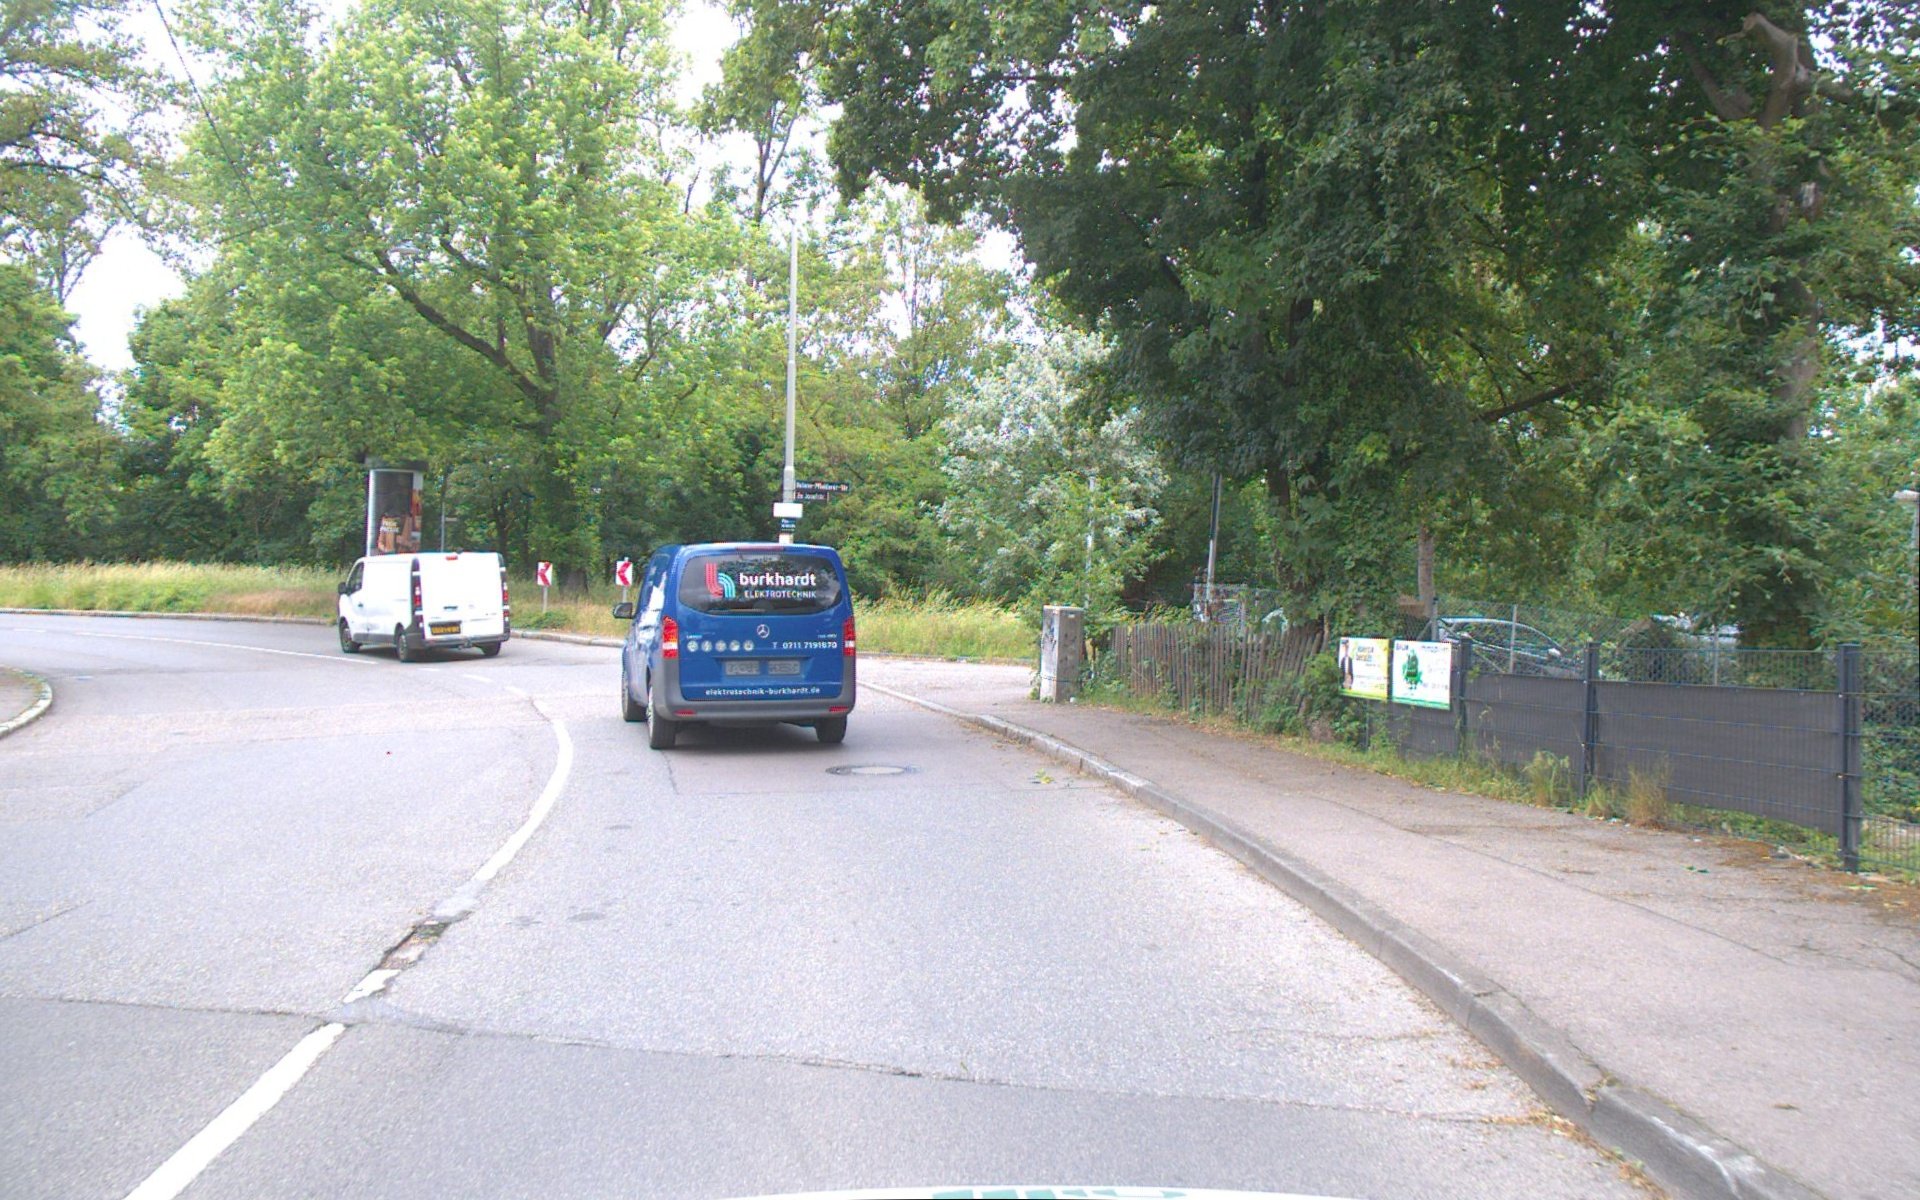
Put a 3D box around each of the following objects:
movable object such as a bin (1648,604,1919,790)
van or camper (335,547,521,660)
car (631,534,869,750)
[{"bbox_3d":[8.893,0.985,17.632,2.063,1.818,2.205,1,0,-7],"label":"movable object such as a bin"},{"bbox_3d":[-10.408,-0.012,32.131,2.004,1.990,4.833,-2,2,-36],"label":"van or camper"},{"bbox_3d":[-2.251,0.335,16.679,1.881,1.870,4.278,-1,1,-14],"label":"car"}]
